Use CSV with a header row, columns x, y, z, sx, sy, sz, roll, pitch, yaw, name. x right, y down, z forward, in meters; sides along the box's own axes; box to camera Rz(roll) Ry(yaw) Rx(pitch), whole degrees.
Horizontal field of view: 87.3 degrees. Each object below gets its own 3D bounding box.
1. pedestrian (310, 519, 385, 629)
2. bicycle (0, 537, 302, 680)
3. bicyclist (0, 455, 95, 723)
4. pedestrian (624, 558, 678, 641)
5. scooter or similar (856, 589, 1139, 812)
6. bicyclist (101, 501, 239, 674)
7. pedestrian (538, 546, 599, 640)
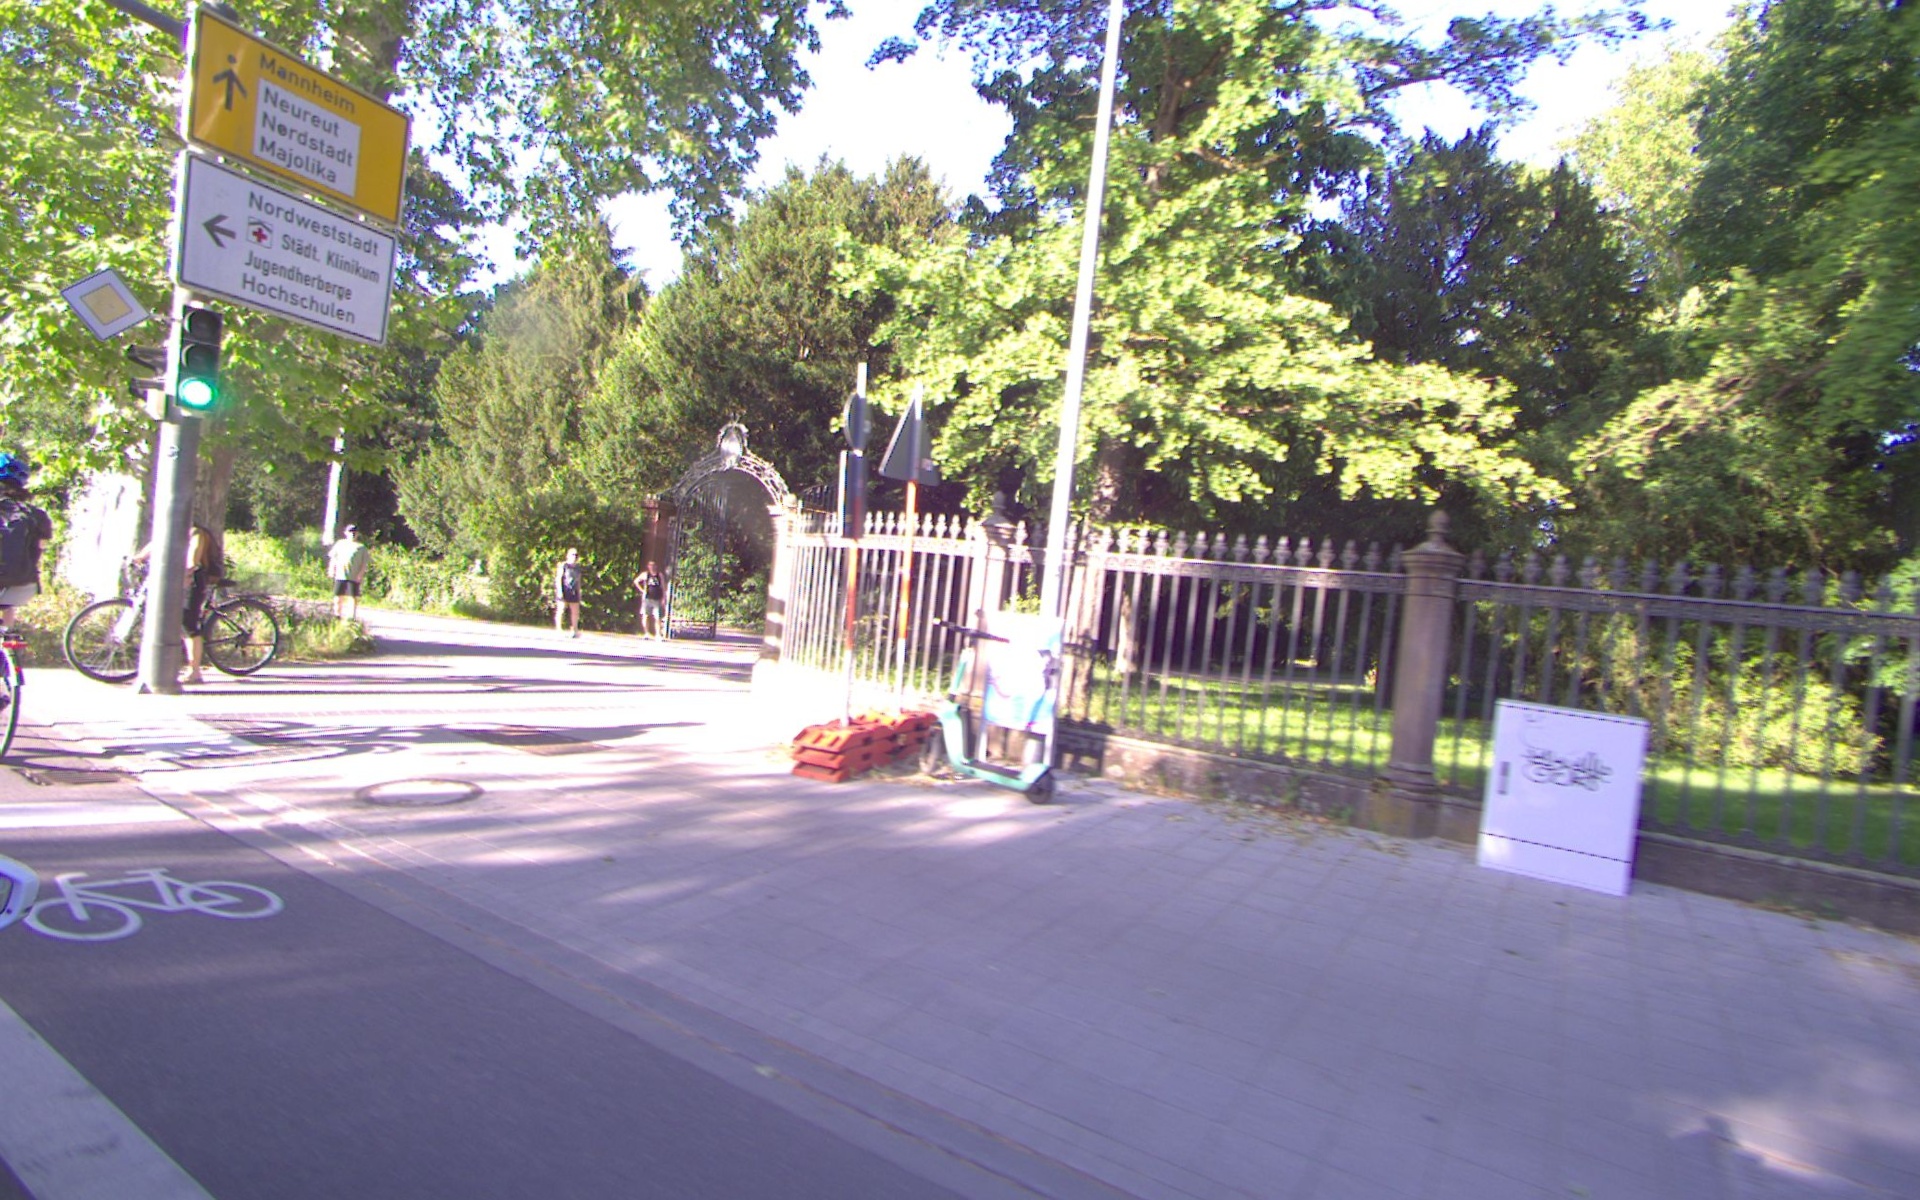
x,y,z,sx,sy,sz,roll,pitch,yaw,name
-9.286,-0.395,15.244,0.671,1.565,0.689,7,1,41,pedestrian
-7.270,0.121,9.146,0.685,1.109,1.983,7,0,38,bicycle
-5.808,-0.094,5.950,0.877,1.520,0.694,7,1,29,bicyclist
-6.867,-0.013,22.331,0.671,1.731,0.689,7,-1,41,pedestrian
0.244,0.641,7.242,1.806,1.273,0.791,7,5,32,scooter or similar
-7.213,-0.108,9.192,0.685,1.466,0.764,7,1,39,bicyclist
-7.336,-0.128,18.847,0.671,1.654,0.689,7,1,41,pedestrian
